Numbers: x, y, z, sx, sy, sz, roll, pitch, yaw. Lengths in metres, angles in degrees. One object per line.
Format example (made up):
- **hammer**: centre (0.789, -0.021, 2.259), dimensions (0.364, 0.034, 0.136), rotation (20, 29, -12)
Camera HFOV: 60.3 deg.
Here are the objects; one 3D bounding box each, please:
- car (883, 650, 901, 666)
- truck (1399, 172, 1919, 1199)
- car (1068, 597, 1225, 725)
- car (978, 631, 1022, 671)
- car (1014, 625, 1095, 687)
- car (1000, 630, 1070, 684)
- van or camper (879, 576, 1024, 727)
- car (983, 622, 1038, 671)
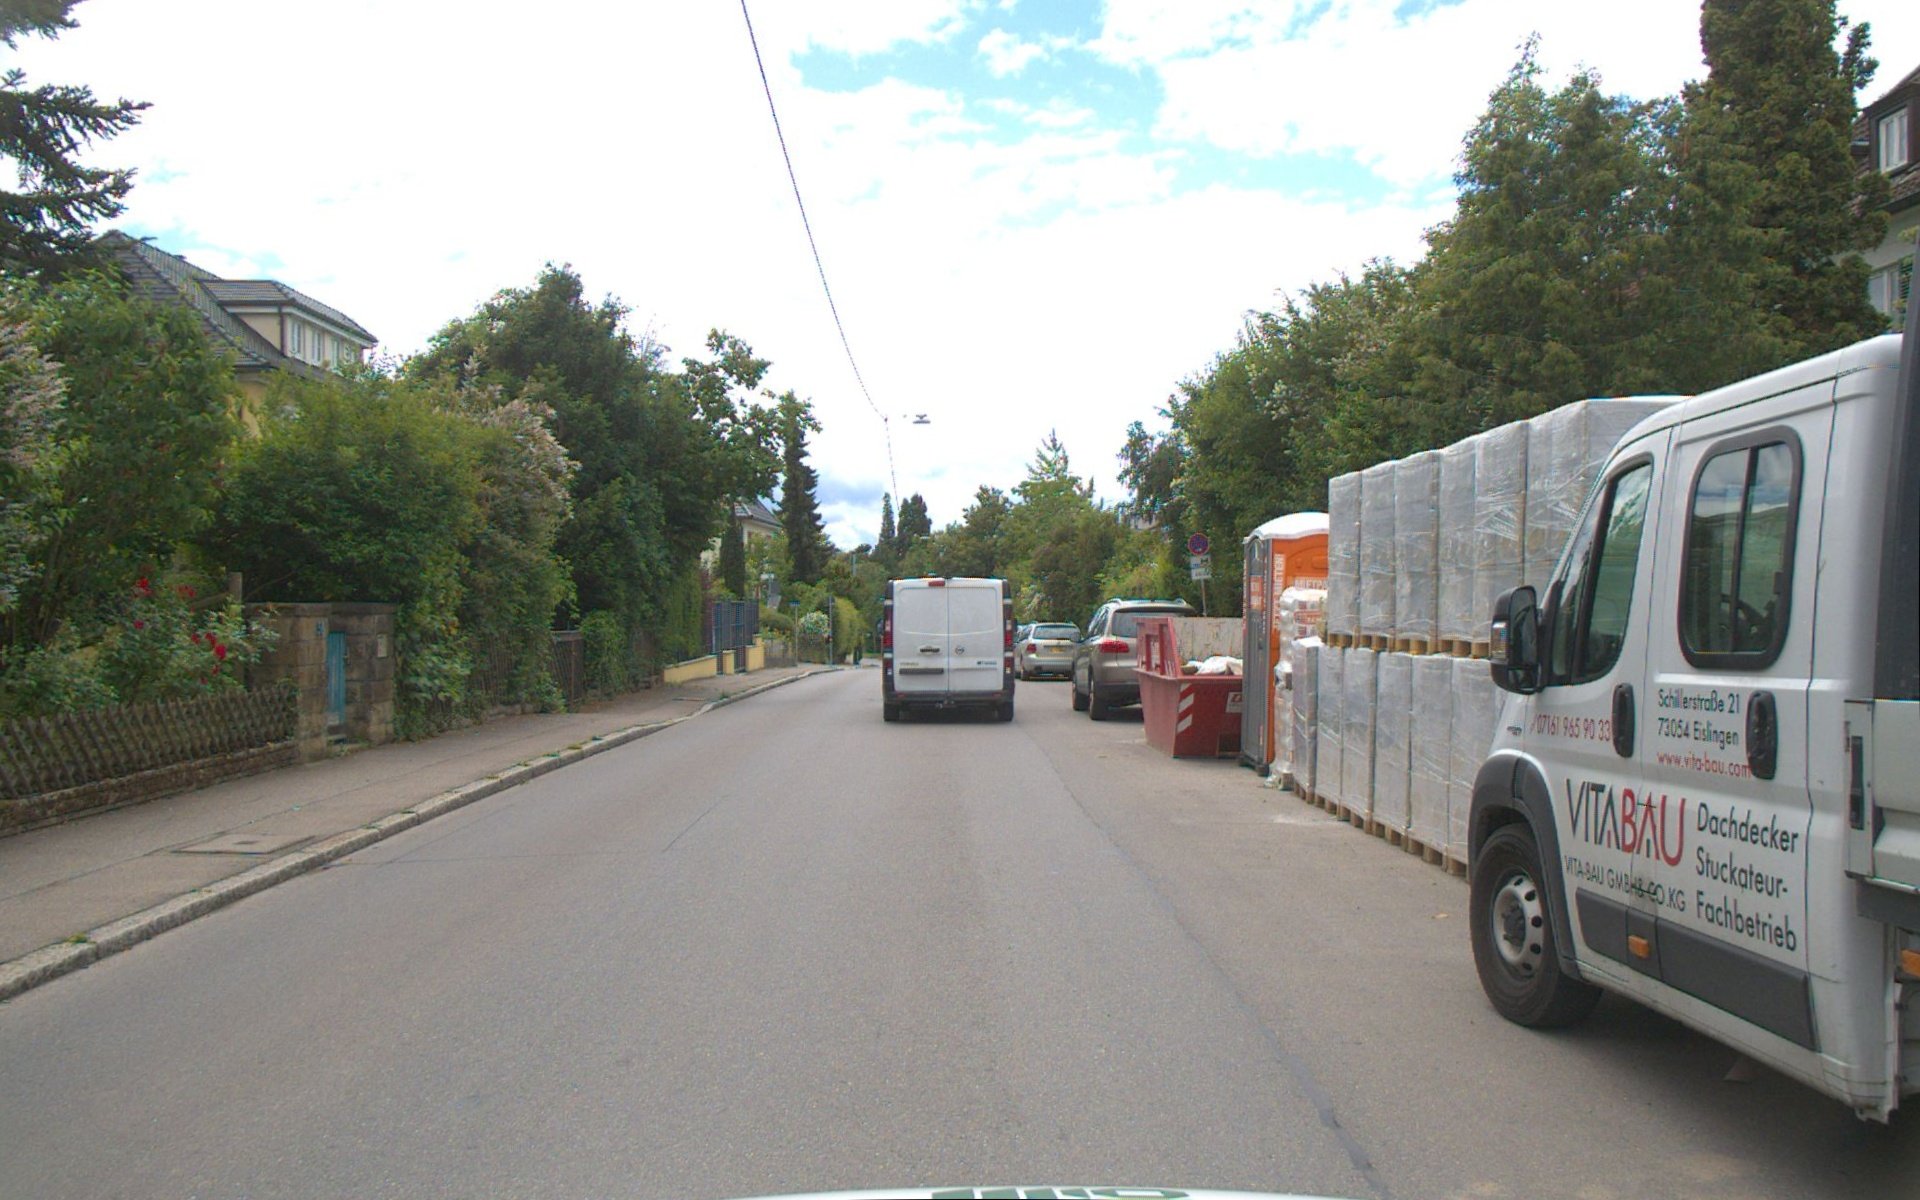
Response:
- **car**: centre (-7.046, 5.979, 171.498), dimensions (1.709, 1.552, 4.010), rotation (-1, -1, -2)
- **truck**: centre (3.122, 0.349, 3.753), dimensions (2.143, 2.515, 7.428), rotation (1, 0, -1)
- **car**: centre (2.675, 0.849, 24.532), dimensions (1.709, 1.704, 4.183), rotation (-1, -1, -2)
- **car**: centre (1.754, 2.244, 73.760), dimensions (1.709, 1.658, 4.257), rotation (-1, -1, -2)
- **car**: centre (2.415, 1.429, 43.153), dimensions (1.709, 1.472, 4.257), rotation (-1, -1, -2)
- **car**: centre (2.165, 1.641, 48.756), dimensions (1.709, 1.472, 4.257), rotation (-1, -1, -2)
- **van or camper**: centre (-0.174, 0.733, 24.289), dimensions (1.900, 1.988, 4.763), rotation (0, -1, -2)
- **car**: centre (1.784, 1.647, 59.773), dimensions (1.709, 1.658, 4.257), rotation (-1, -1, -2)
